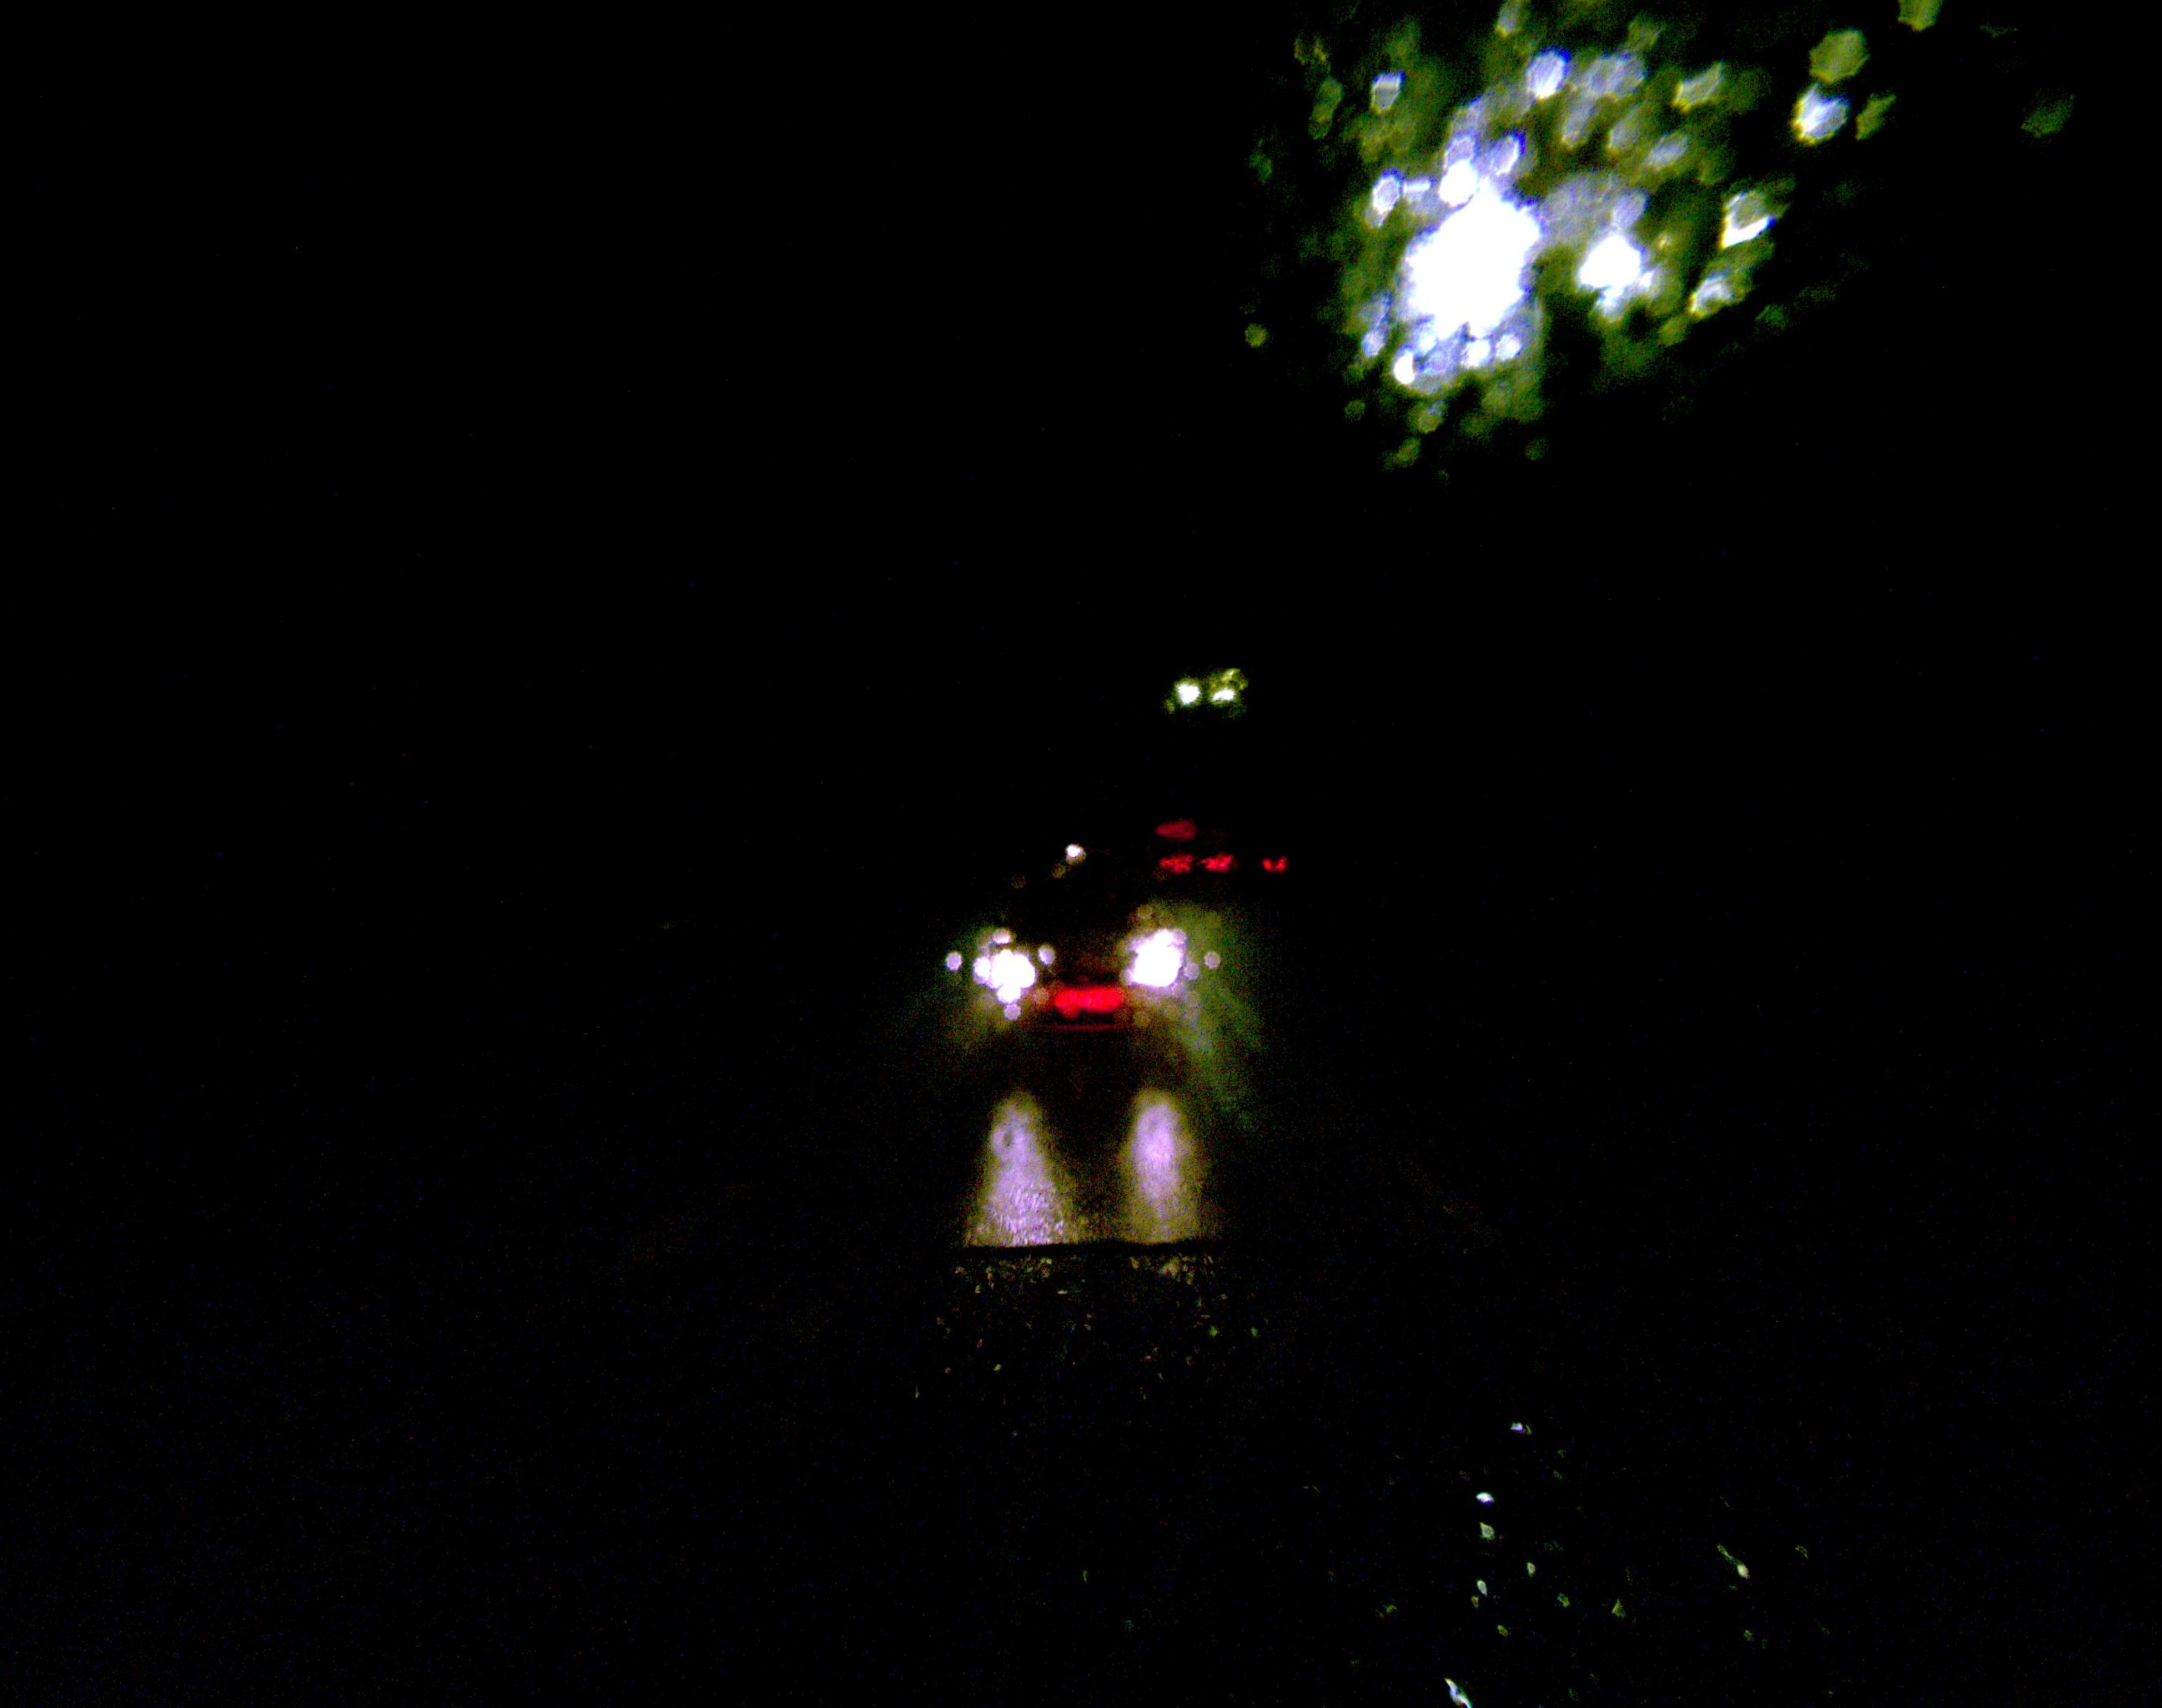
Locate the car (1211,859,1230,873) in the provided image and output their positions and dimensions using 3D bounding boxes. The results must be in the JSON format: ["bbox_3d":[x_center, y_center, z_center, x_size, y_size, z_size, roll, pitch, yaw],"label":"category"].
[{"bbox_3d":[17.799,1.483,97.078,1.817,1.637,4.000,-2,0,2],"label":"car"}]

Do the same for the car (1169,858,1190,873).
[{"bbox_3d":[11.404,1.297,88.045,1.788,1.637,4.000,-2,0,0],"label":"car"}]

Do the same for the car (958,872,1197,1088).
[{"bbox_3d":[0.002,1.000,7.741,1.764,1.492,4.000,-2,0,1],"label":"car"}]

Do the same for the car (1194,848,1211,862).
[{"bbox_3d":[19.053,0.129,119.155,1.998,2.002,4.000,-2,0,1],"label":"car"}]

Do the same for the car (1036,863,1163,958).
[{"bbox_3d":[0.316,0.922,14.117,1.998,1.455,4.000,-1,0,1],"label":"car"}]

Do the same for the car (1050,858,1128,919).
[{"bbox_3d":[0.230,0.899,21.721,1.998,1.531,4.000,-1,0,1],"label":"car"}]

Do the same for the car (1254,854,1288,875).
[{"bbox_3d":[15.530,0.839,62.269,1.866,1.637,4.000,-2,0,2],"label":"car"}]

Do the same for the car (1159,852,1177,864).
[{"bbox_3d":[11.817,0.514,103.378,1.788,1.637,3.999,-2,0,-1],"label":"car"}]
